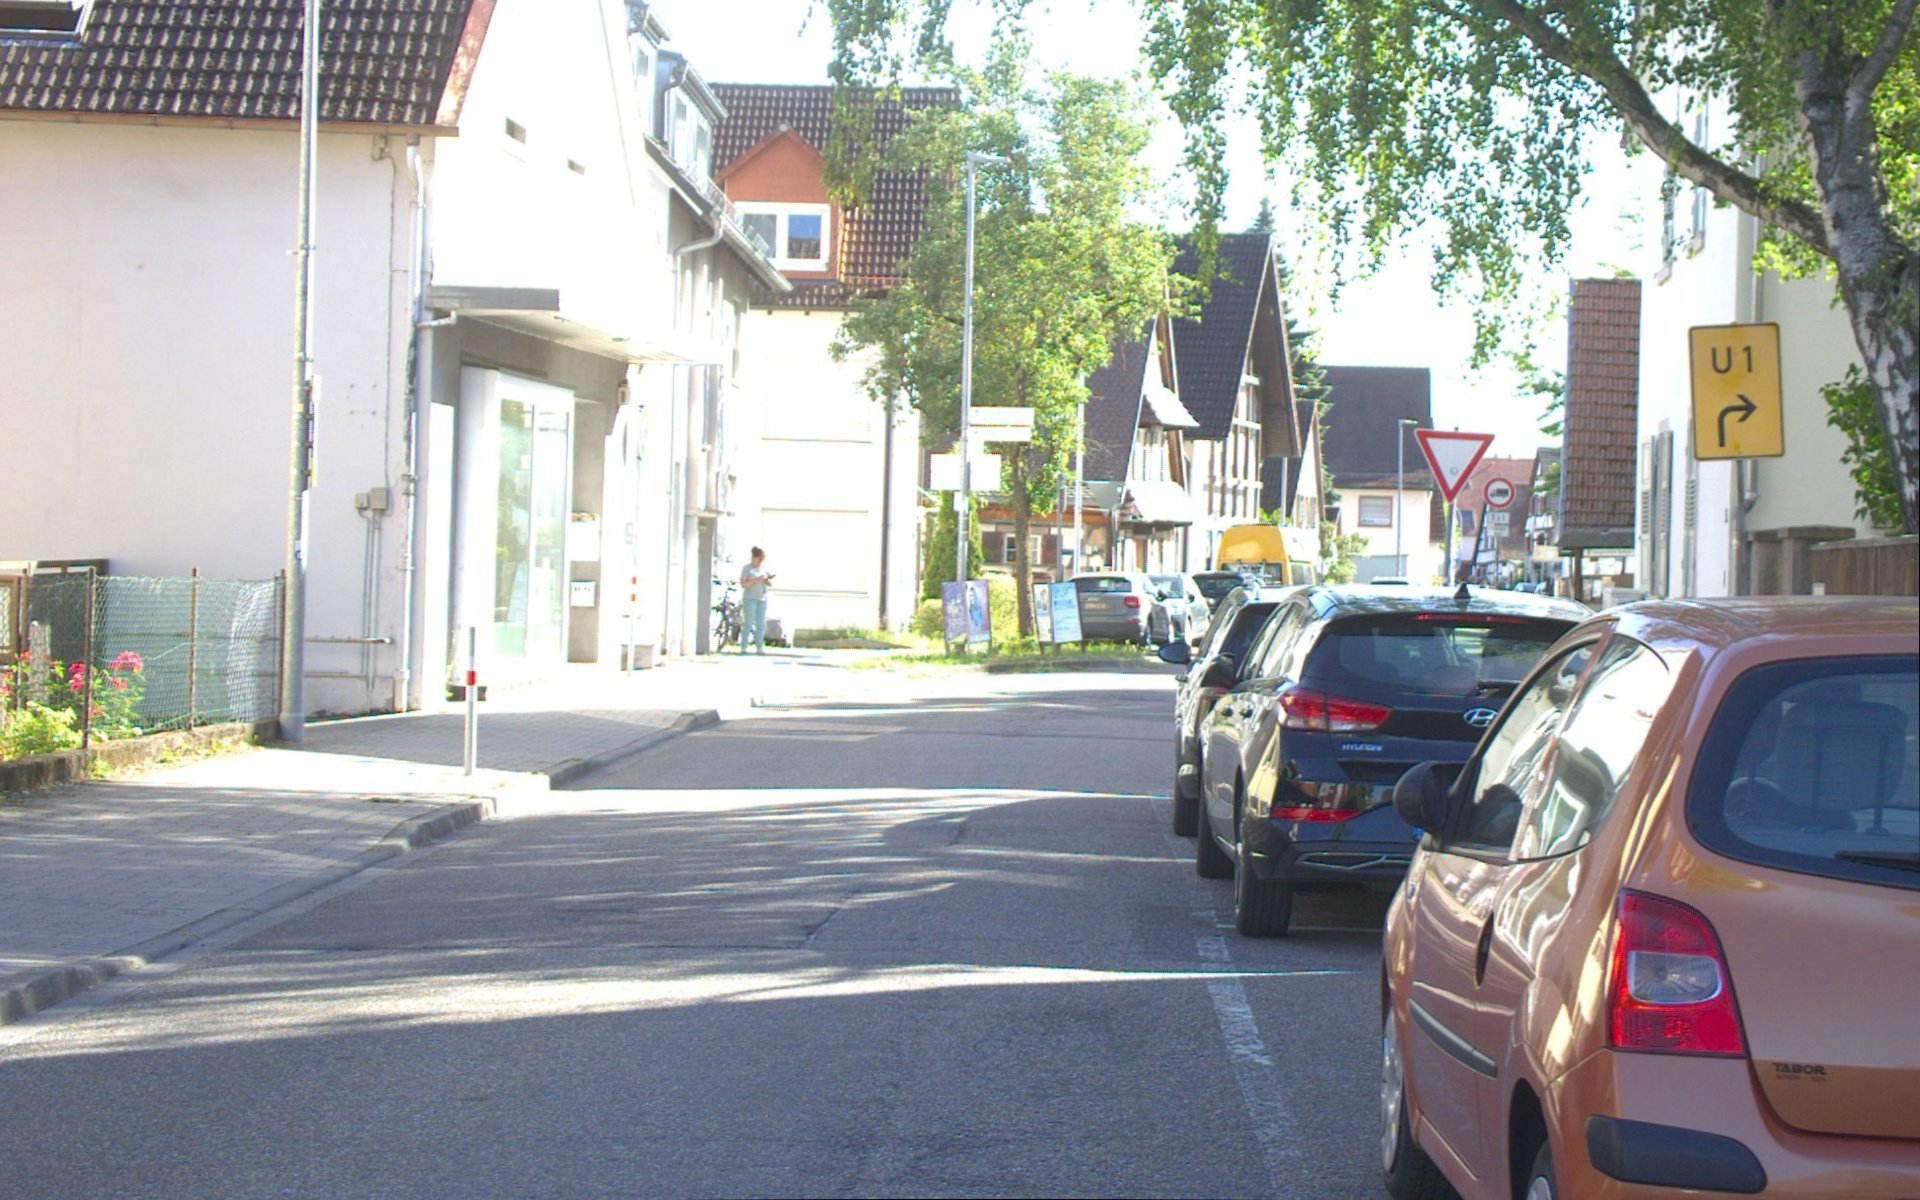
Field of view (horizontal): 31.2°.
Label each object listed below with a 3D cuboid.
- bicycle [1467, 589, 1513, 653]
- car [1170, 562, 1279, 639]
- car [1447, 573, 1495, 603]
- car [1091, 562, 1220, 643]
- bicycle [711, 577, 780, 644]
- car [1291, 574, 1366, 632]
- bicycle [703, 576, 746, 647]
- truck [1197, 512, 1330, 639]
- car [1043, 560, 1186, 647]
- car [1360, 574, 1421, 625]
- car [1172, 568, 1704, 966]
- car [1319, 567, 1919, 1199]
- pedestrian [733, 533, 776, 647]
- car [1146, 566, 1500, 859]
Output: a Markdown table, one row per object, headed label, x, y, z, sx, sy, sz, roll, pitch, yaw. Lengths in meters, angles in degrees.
| label | x | y | z | sx | sy | sz | roll | pitch | yaw |
| --- | --- | --- | --- | --- | --- | --- | --- | --- | --- |
| bicycle | 9.852 | 0.381 | 63.879 | 0.434 | 1.172 | 1.827 | 2 | 1 | 21 |
| car | 5.905 | 0.024 | 76.404 | 1.807 | 1.616 | 3.878 | 2 | 0 | 13 |
| car | 28.944 | -0.704 | 194.737 | 1.973 | 1.577 | 3.995 | 2 | 1 | -1 |
| car | 3.877 | 0.058 | 67.707 | 1.807 | 1.500 | 4.105 | 2 | 0 | 13 |
| bicycle | -3.446 | 0.183 | 55.400 | 0.578 | 1.049 | 2.035 | 1 | -1 | 11 |
| car | 9.710 | 0.068 | 90.507 | 1.646 | 1.428 | 3.613 | 2 | 1 | 10 |
| bicycle | -3.560 | 0.186 | 51.982 | 0.423 | 1.049 | 1.381 | 1 | -1 | 5 |
| truck | 7.267 | -0.554 | 81.731 | 2.269 | 2.859 | 5.779 | 2 | 0 | 13 |
| car | 2.889 | 0.071 | 63.430 | 1.868 | 1.500 | 4.105 | 2 | 0 | 13 |
| car | 12.957 | -0.020 | 103.382 | 1.589 | 1.438 | 3.613 | 2 | 1 | 10 |
| car | 1.986 | 0.628 | 15.486 | 1.807 | 1.431 | 4.286 | 2 | 1 | 1 |
| car | 1.761 | 0.721 | 7.030 | 1.648 | 1.473 | 3.934 | 2 | 1 | 1 |
| pedestrian | -3.118 | -0.150 | 52.106 | 0.483 | 1.687 | 0.556 | 2 | -1 | 8 |
| car | 2.083 | 0.569 | 20.218 | 1.808 | 1.431 | 4.285 | 2 | 1 | 5 |
